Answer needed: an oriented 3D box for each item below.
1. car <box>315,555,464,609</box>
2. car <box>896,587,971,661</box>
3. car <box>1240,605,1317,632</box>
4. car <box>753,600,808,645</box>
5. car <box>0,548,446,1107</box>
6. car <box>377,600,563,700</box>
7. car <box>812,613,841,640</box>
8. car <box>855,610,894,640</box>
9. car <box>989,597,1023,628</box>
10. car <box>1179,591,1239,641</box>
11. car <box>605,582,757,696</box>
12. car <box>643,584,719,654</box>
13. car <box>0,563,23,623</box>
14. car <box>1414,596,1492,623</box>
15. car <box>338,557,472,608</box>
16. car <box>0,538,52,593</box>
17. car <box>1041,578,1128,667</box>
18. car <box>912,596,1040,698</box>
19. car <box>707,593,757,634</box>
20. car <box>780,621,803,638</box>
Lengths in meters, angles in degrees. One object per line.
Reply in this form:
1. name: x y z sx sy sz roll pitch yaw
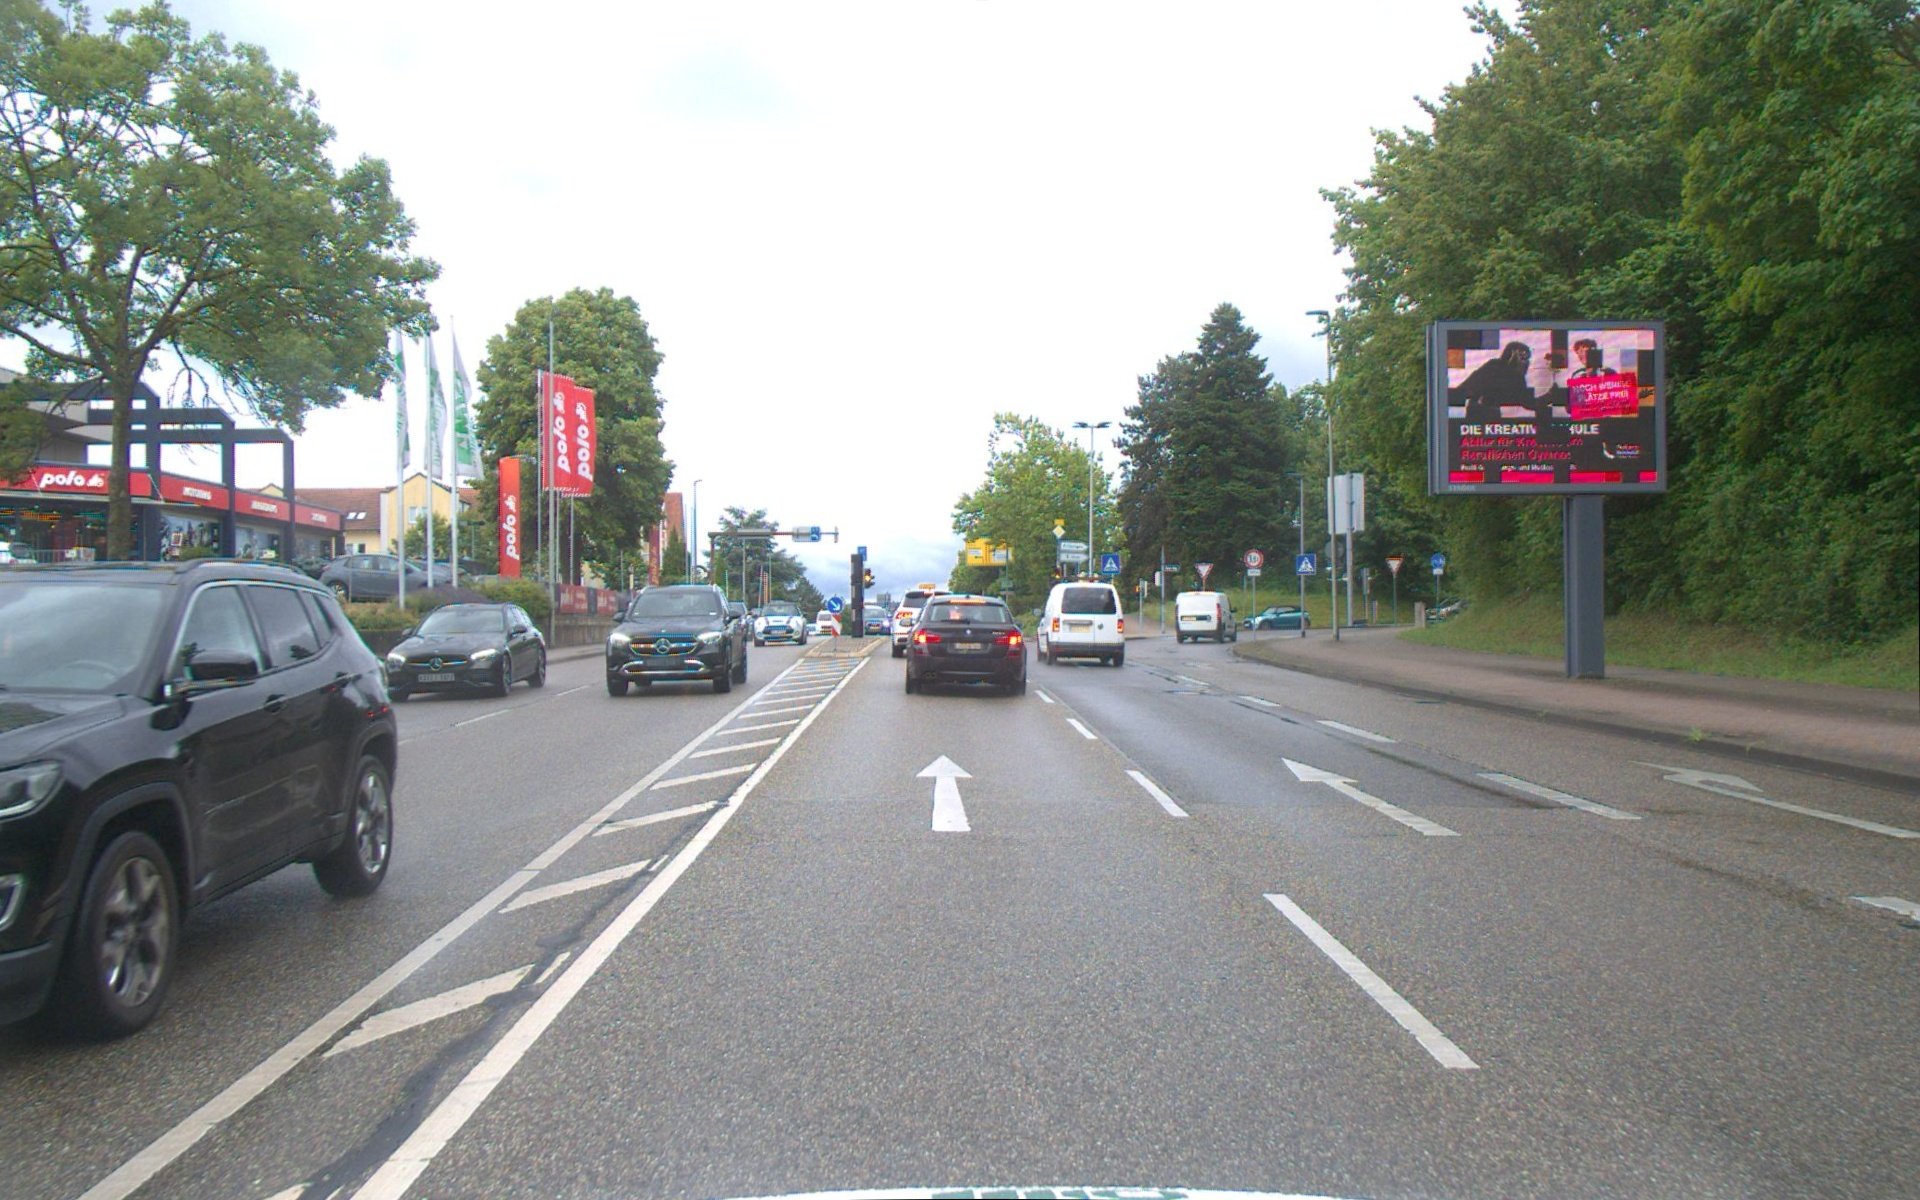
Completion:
1. car: -16.299 -0.513 47.385 3.755 1.508 1.738 0 0 -9
2. car: -0.633 0.563 41.405 1.692 1.741 3.383 1 1 2
3. car: 17.609 1.006 91.523 3.928 1.316 1.600 -2 1 -20
4. car: -6.047 0.729 56.019 1.634 1.422 3.997 -2 0 -4
5. car: -3.600 0.648 6.826 1.759 1.611 4.196 -1 1 -2
6. car: -7.855 0.750 26.907 1.756 1.426 4.299 -2 0 -1
7. car: -9.474 1.880 117.573 1.820 1.855 4.576 -2 -1 -3
8. car: -4.395 1.262 84.804 1.857 1.481 4.093 -1 -1 -5
9. car: 2.240 0.576 80.794 1.567 1.396 3.680 -1 1 0
10. car: 9.288 0.578 61.585 1.775 1.738 3.949 0 1 15
11. car: -4.387 0.571 26.580 1.786 1.635 4.282 -2 0 -2
12. car: -8.561 0.553 51.135 1.760 2.017 4.894 -2 0 -4
13. car: -25.720 -0.166 41.956 1.640 1.539 4.002 -2 0 -1
14. car: 27.836 0.537 93.341 4.275 1.492 1.880 -1 0 -32
15. car: -16.788 -0.533 50.143 3.579 1.508 1.738 0 0 -9
16. car: -28.301 -0.962 47.159 3.753 1.508 1.872 0 0 -7
17. car: 2.811 0.493 37.963 1.705 1.902 3.946 1 0 1
18. car: 0.269 0.674 25.715 1.816 1.444 3.957 1 0 1
19. car: -9.801 0.549 71.330 1.716 1.639 4.530 -2 0 -3
20. car: -14.003 2.442 137.379 1.634 1.406 4.070 -1 0 -2
